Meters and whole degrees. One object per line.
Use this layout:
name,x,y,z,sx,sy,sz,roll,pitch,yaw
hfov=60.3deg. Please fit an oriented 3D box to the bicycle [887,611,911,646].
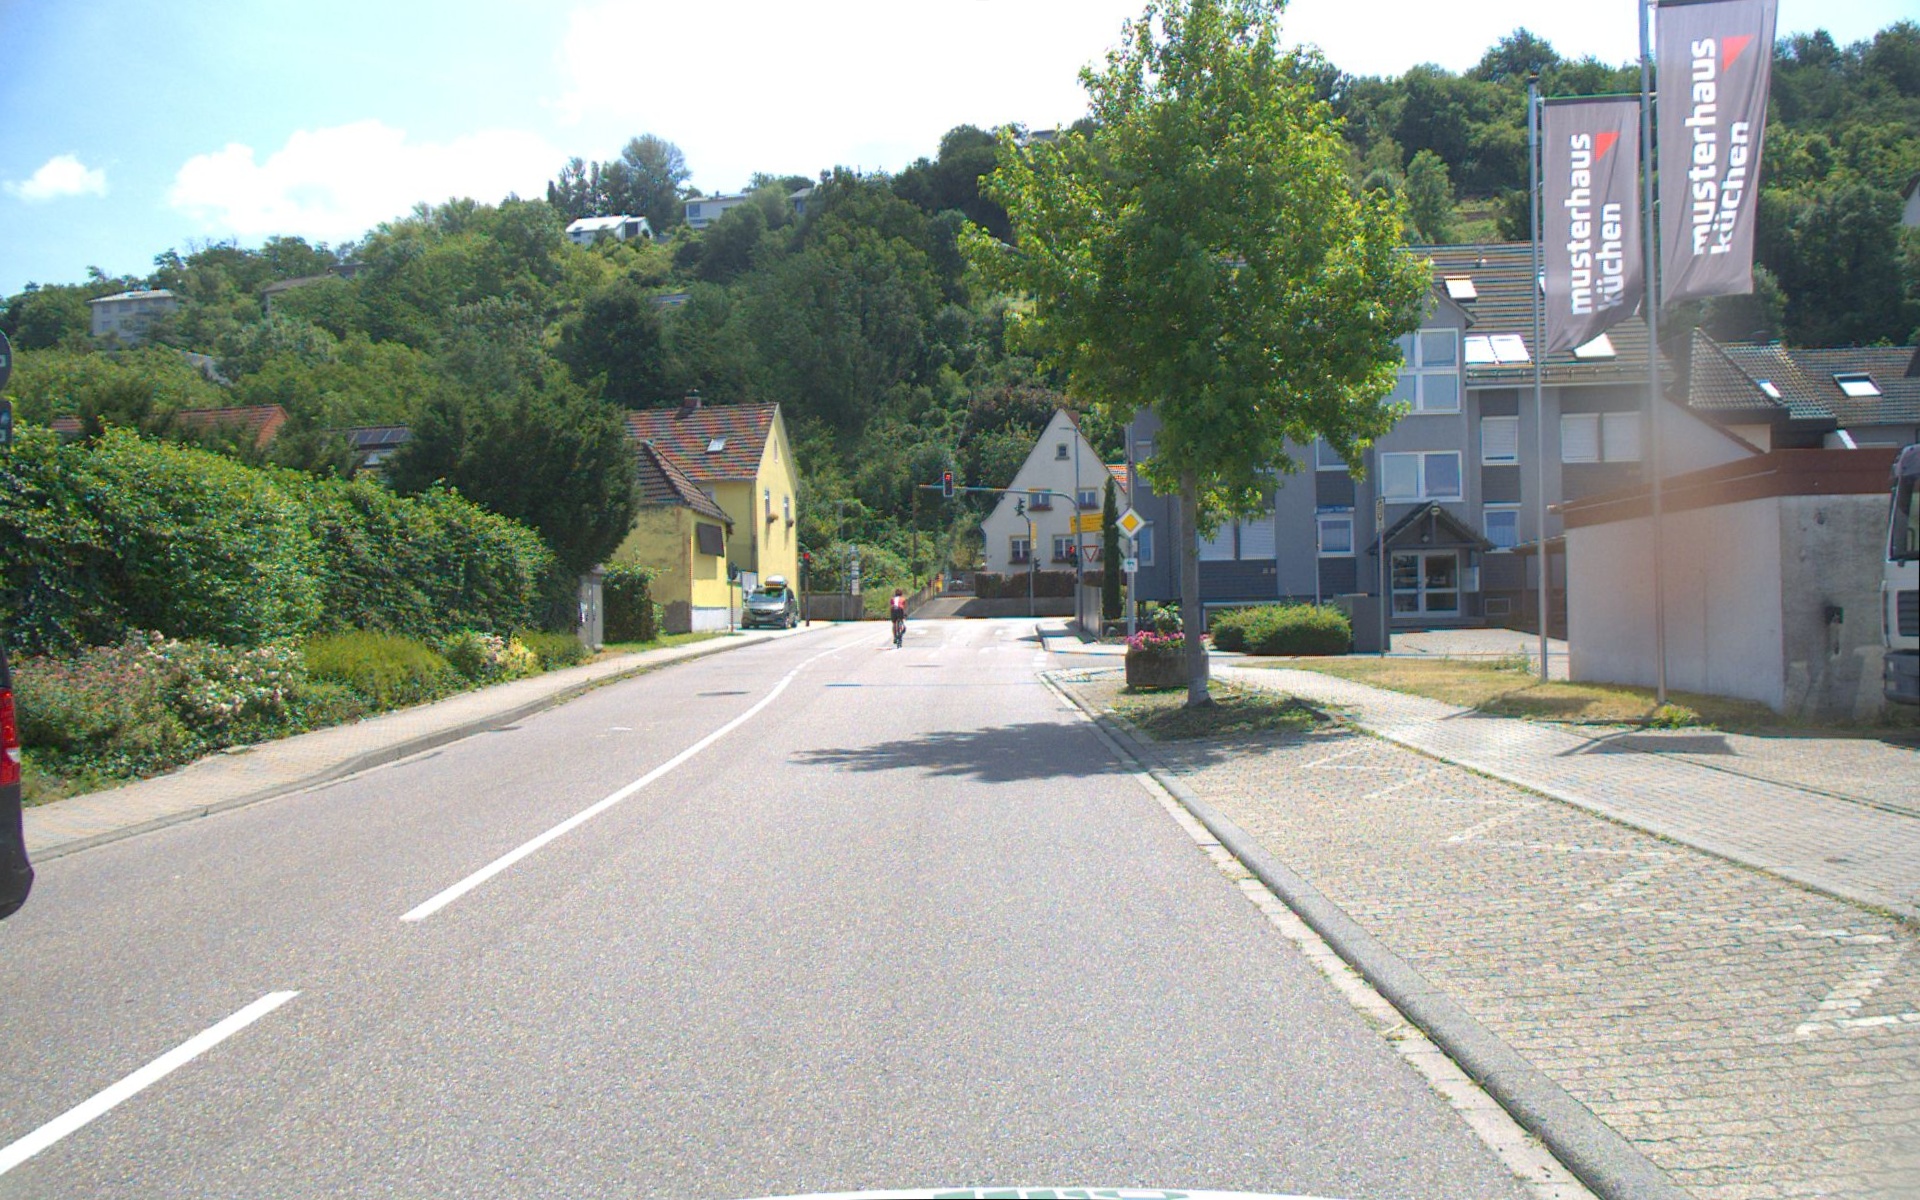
bicycle,-1.647,0.757,44.831,0.617,0.920,1.656,0,0,-2

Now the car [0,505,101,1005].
car,-5.202,0.654,4.564,1.952,1.884,5.072,-3,0,18

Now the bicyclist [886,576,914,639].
bicyclist,-1.614,0.206,44.754,0.745,1.693,0.868,0,0,-2

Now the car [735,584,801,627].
car,-7.671,0.192,66.348,1.952,1.664,4.631,0,0,2

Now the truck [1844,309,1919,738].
truck,12.136,-0.691,13.857,8.004,3.635,2.677,-1,-1,-1
